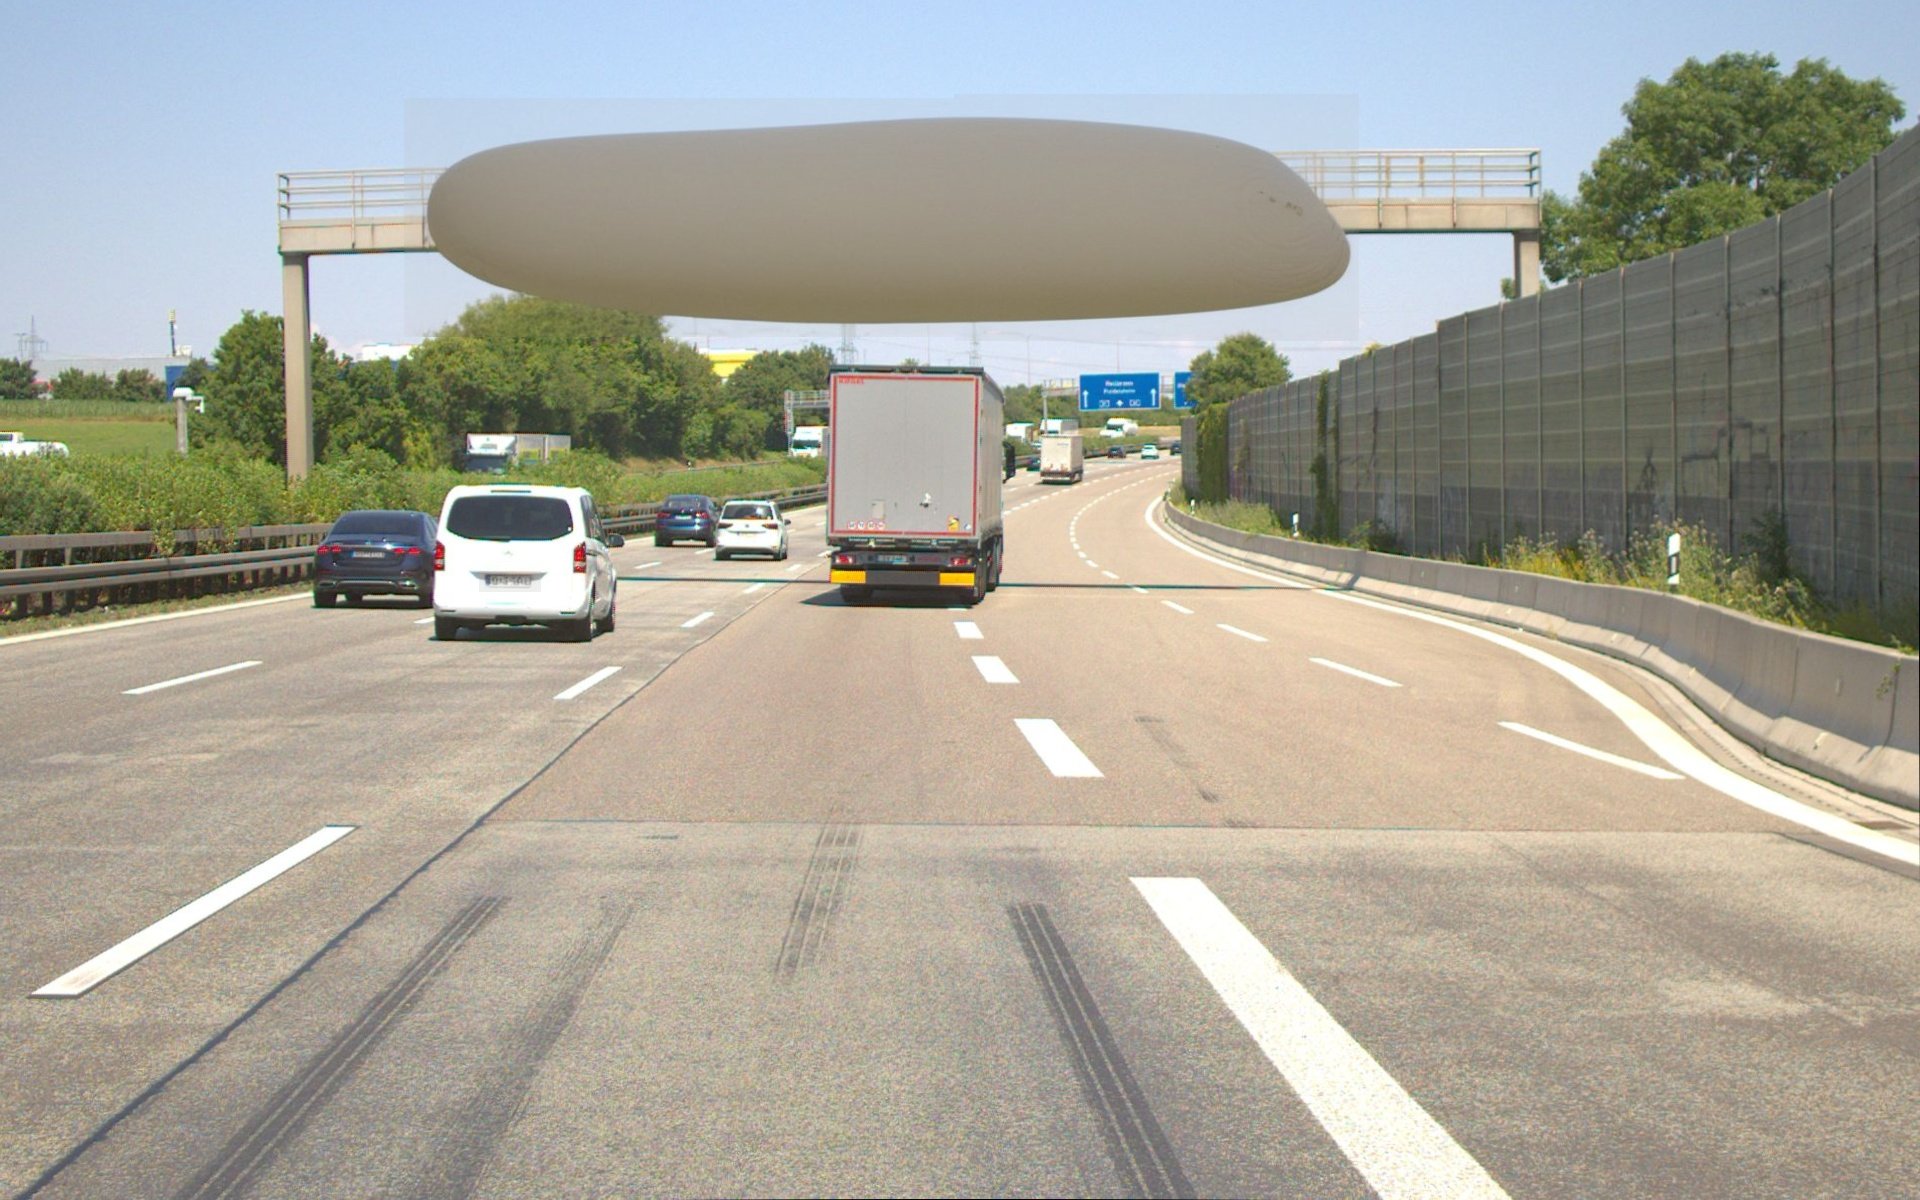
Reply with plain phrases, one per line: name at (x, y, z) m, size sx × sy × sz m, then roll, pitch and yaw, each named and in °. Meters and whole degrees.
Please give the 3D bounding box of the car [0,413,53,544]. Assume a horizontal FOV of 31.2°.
car at (-21.094, -2.624, 74.309) m, size 1.993 × 2.755 × 4.001 m, roll 0°, pitch 2°, yaw -1°

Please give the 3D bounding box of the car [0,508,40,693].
car at (-8.455, 0.043, 25.647) m, size 1.876 × 1.435 × 5.126 m, roll 1°, pitch 2°, yaw -1°

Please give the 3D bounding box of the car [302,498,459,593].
car at (-8.939, -0.850, 53.378) m, size 1.756 × 1.404 × 5.040 m, roll 0°, pitch 1°, yaw -2°

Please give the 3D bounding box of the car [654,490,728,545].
car at (-8.524, -2.655, 109.259) m, size 1.904 × 1.683 × 4.631 m, roll 0°, pitch 2°, yaw 1°

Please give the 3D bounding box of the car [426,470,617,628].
car at (-5.344, -0.641, 42.395) m, size 1.930 × 1.845 × 4.693 m, roll 0°, pitch 1°, yaw -2°

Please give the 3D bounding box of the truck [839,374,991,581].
truck at (-0.865, -2.432, 70.065) m, size 2.928 × 4.001 × 7.584 m, roll 0°, pitch 1°, yaw 0°

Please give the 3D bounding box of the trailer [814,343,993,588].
trailer at (-0.904, -2.312, 62.296) m, size 2.928 × 4.001 × 12.039 m, roll 0°, pitch 1°, yaw 0°

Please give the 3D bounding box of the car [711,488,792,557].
car at (-5.665, -2.112, 93.854) m, size 1.904 × 1.845 × 4.631 m, roll 0°, pitch 1°, yaw 0°

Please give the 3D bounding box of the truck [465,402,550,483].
truck at (-22.879, -7.931, 174.280) m, size 3.001 × 3.953 × 10.323 m, roll 1°, pitch 2°, yaw -1°
